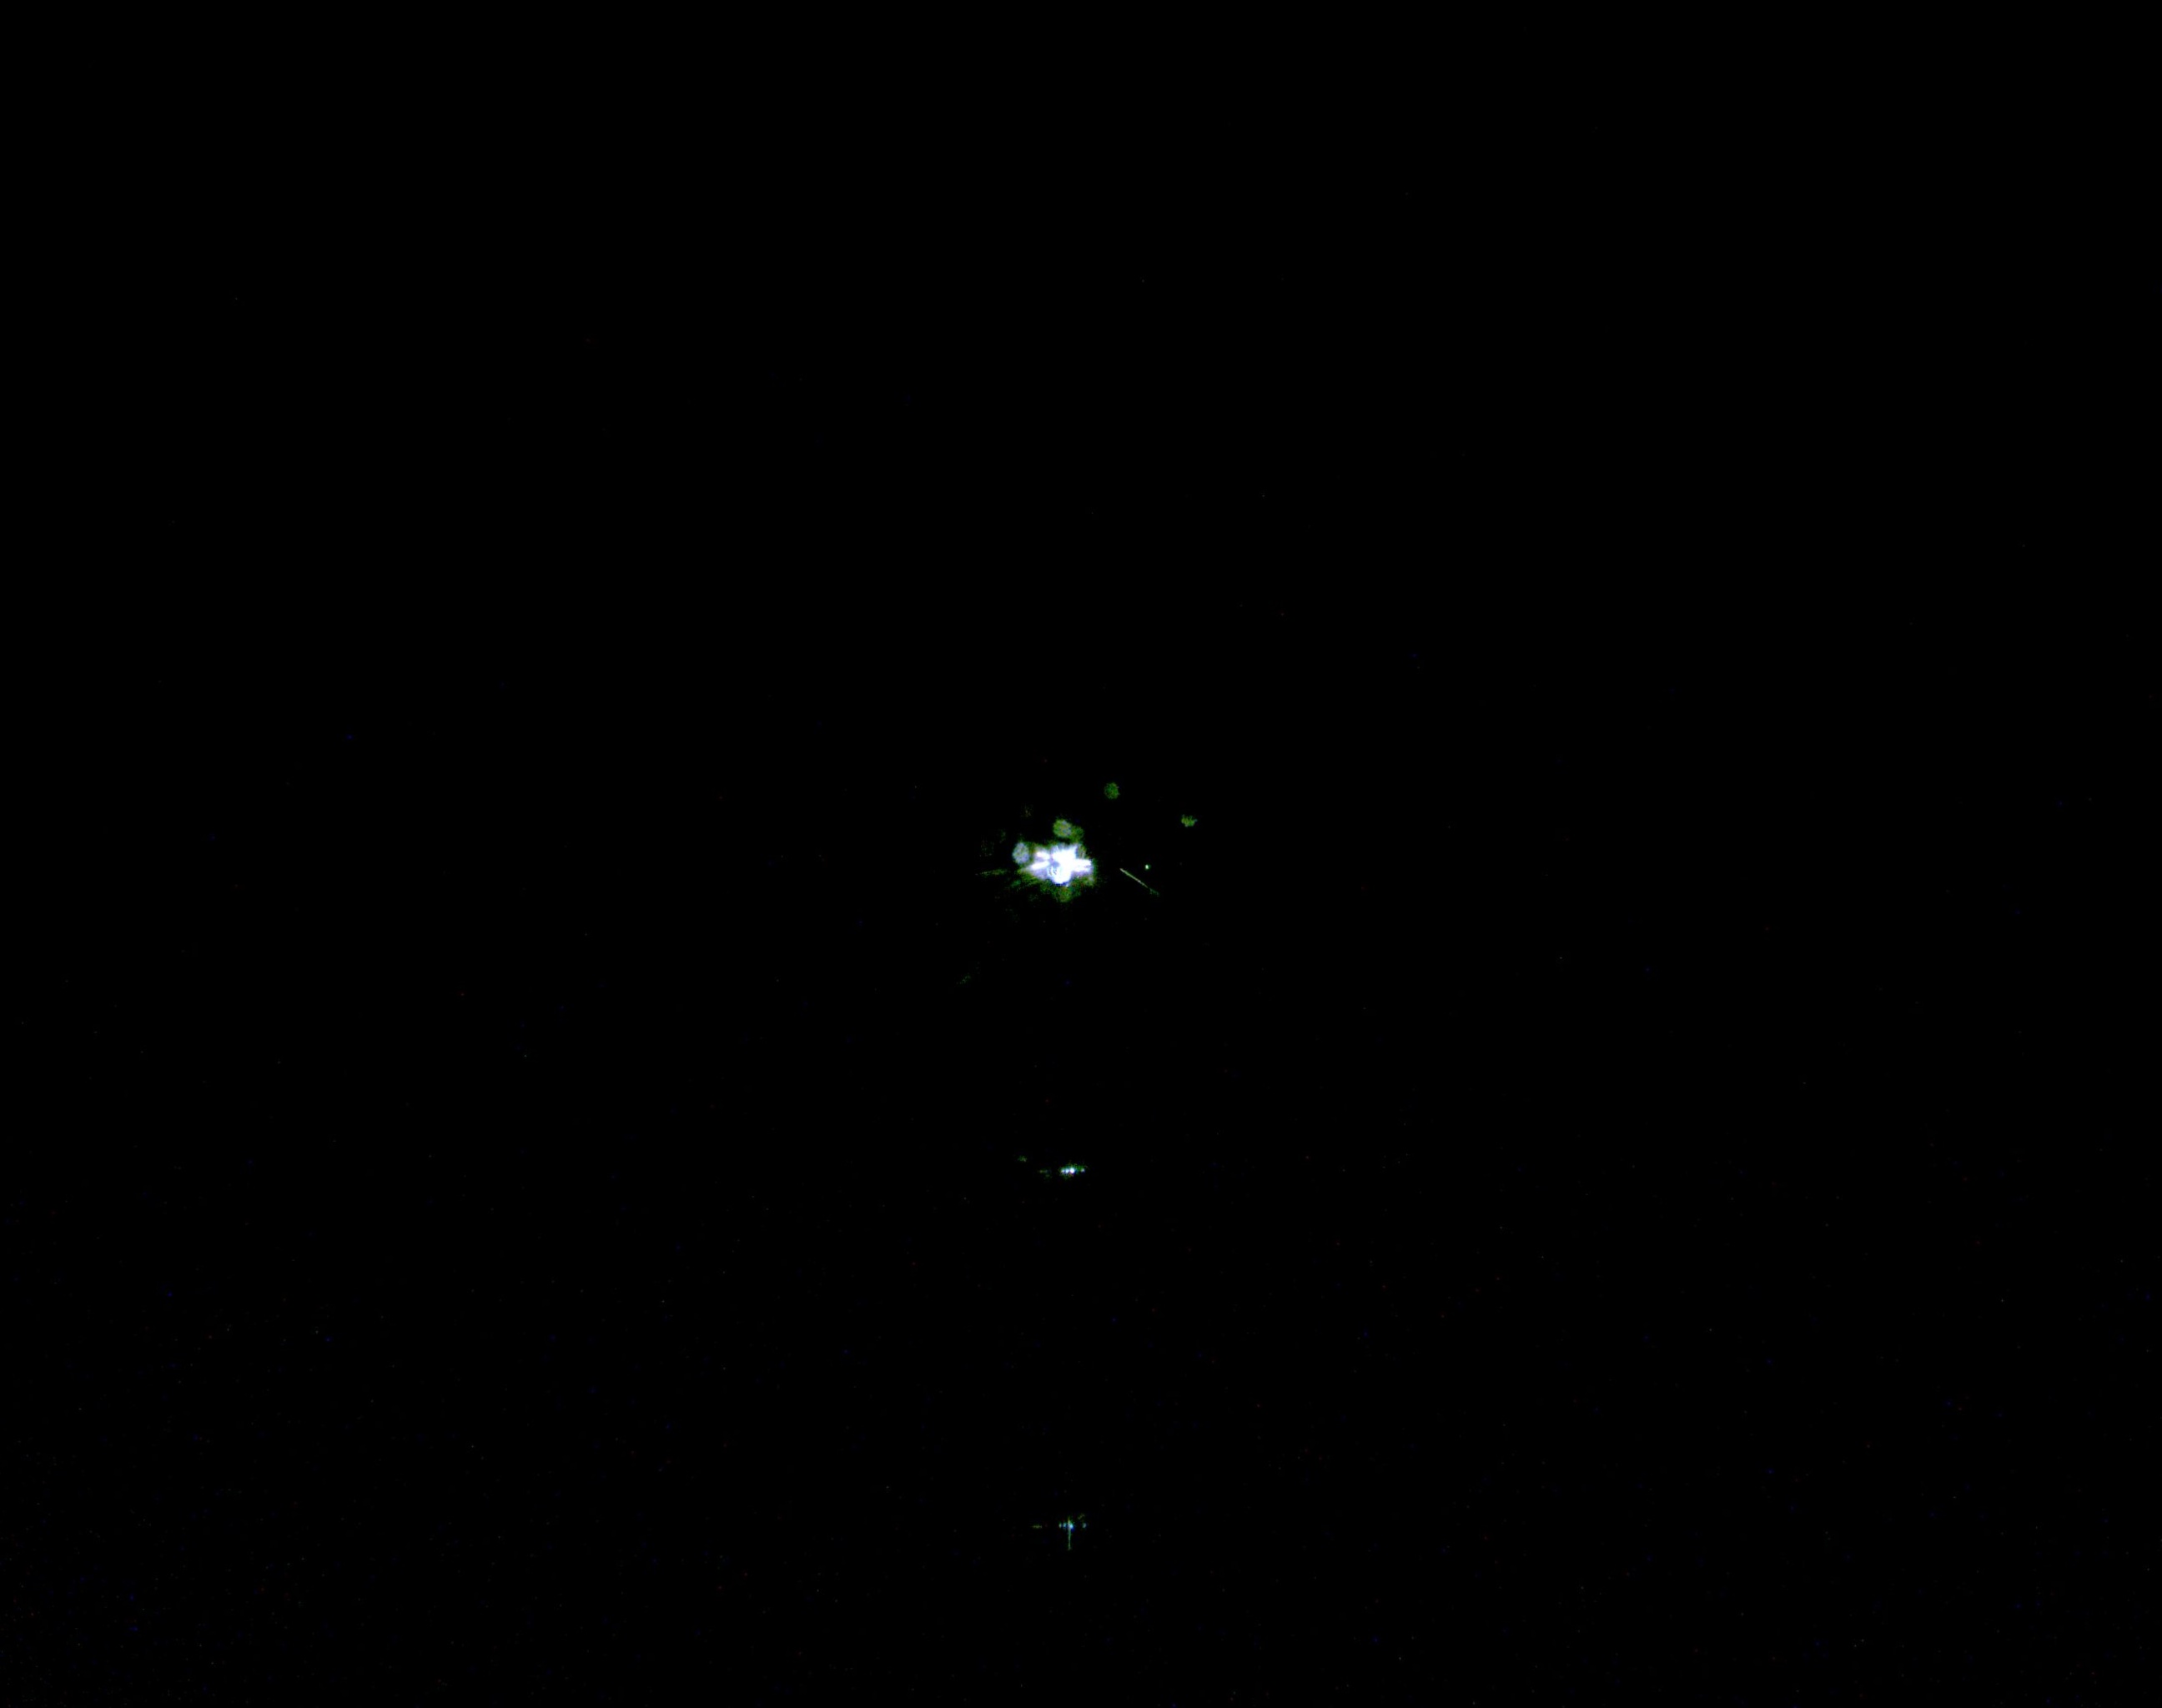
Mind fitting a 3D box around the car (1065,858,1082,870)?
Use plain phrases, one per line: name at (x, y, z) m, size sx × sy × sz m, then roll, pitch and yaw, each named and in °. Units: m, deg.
car at (-0.874, 1.206, 99.510) m, size 1.986 × 1.448 × 4.431 m, roll 0°, pitch 0°, yaw 1°
